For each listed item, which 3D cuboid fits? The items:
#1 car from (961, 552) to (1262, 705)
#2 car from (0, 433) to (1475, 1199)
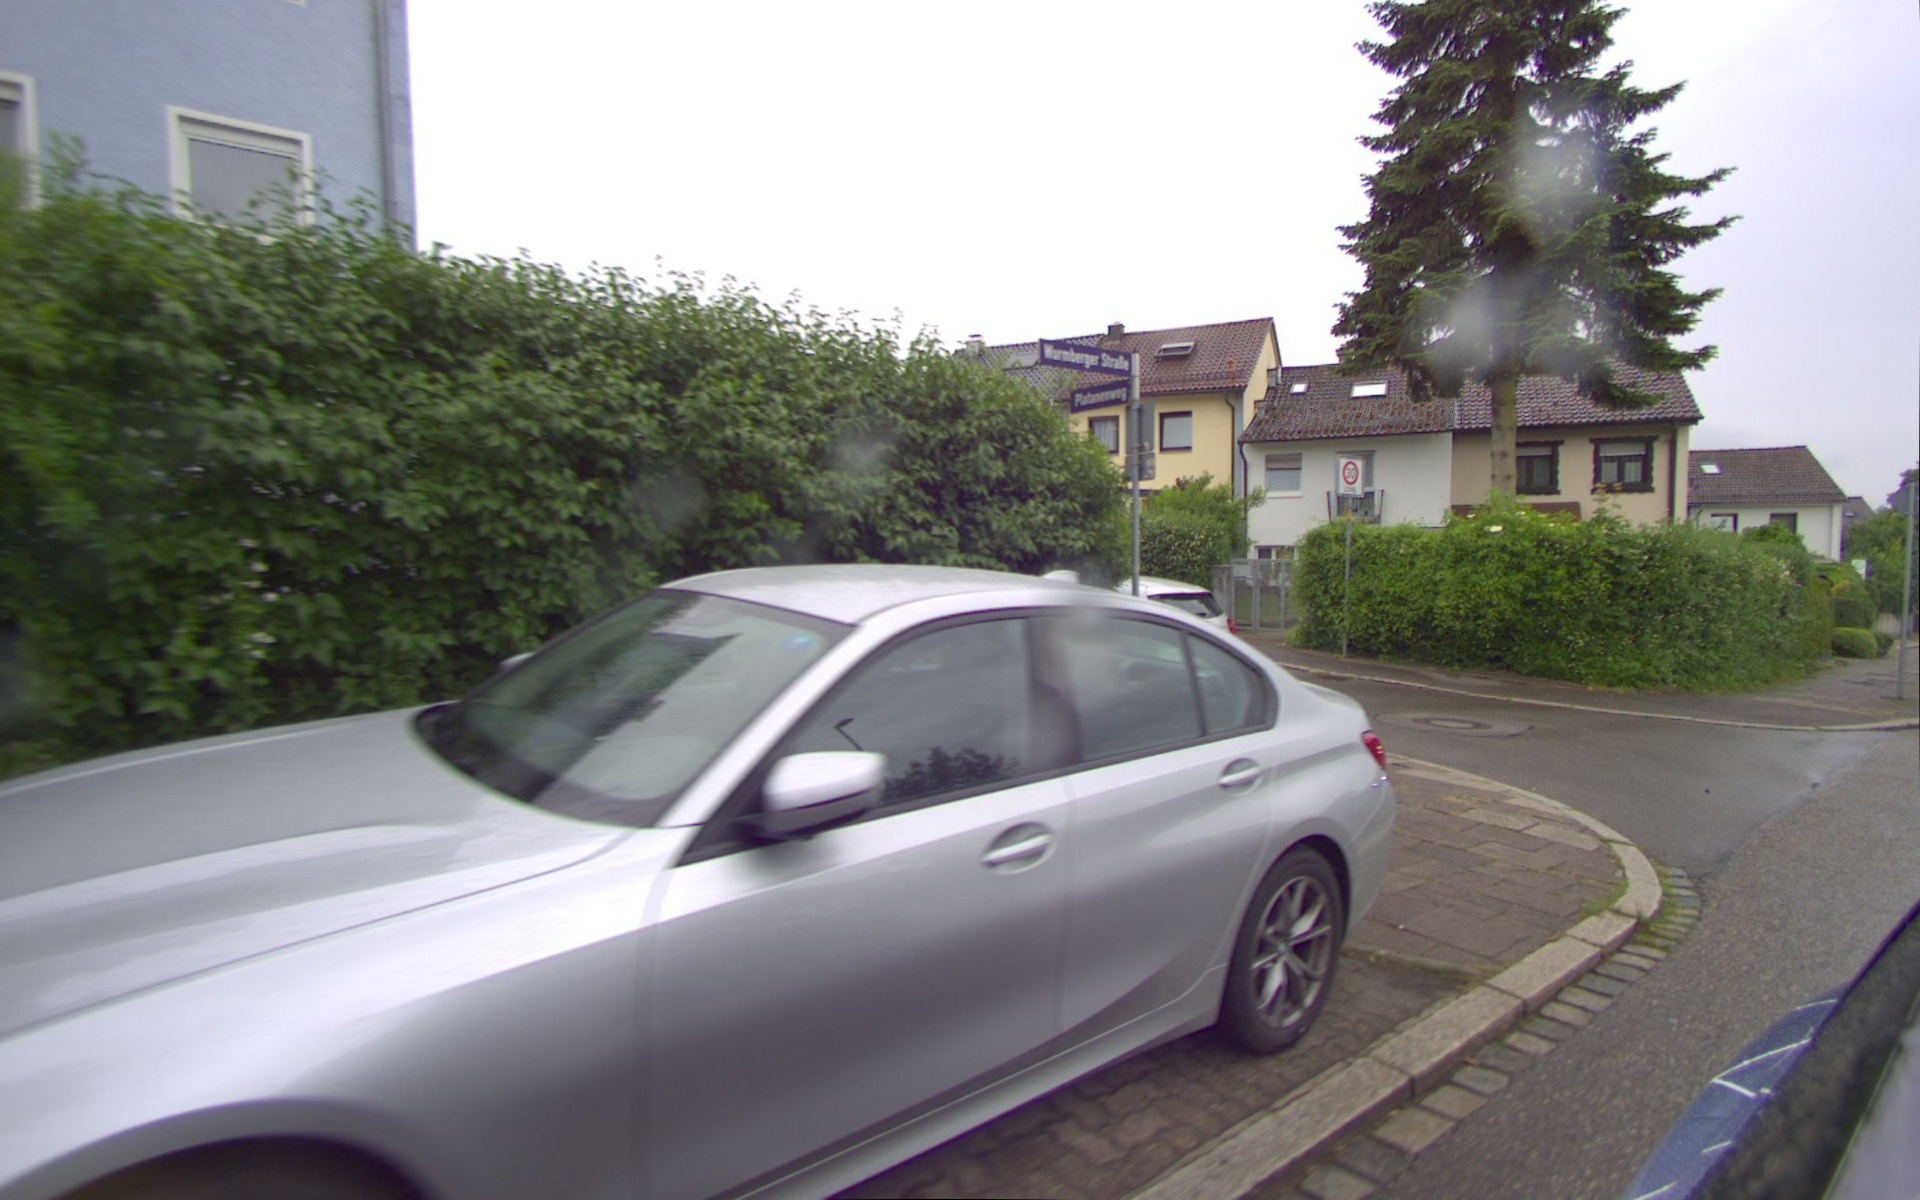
[{"bbox_3d":[1.873,0.250,13.506,1.696,1.530,3.786,0,6,-38],"label":"car"},{"bbox_3d":[-0.439,0.530,2.956,4.510,1.540,1.803,1,3,-40],"label":"car"}]
